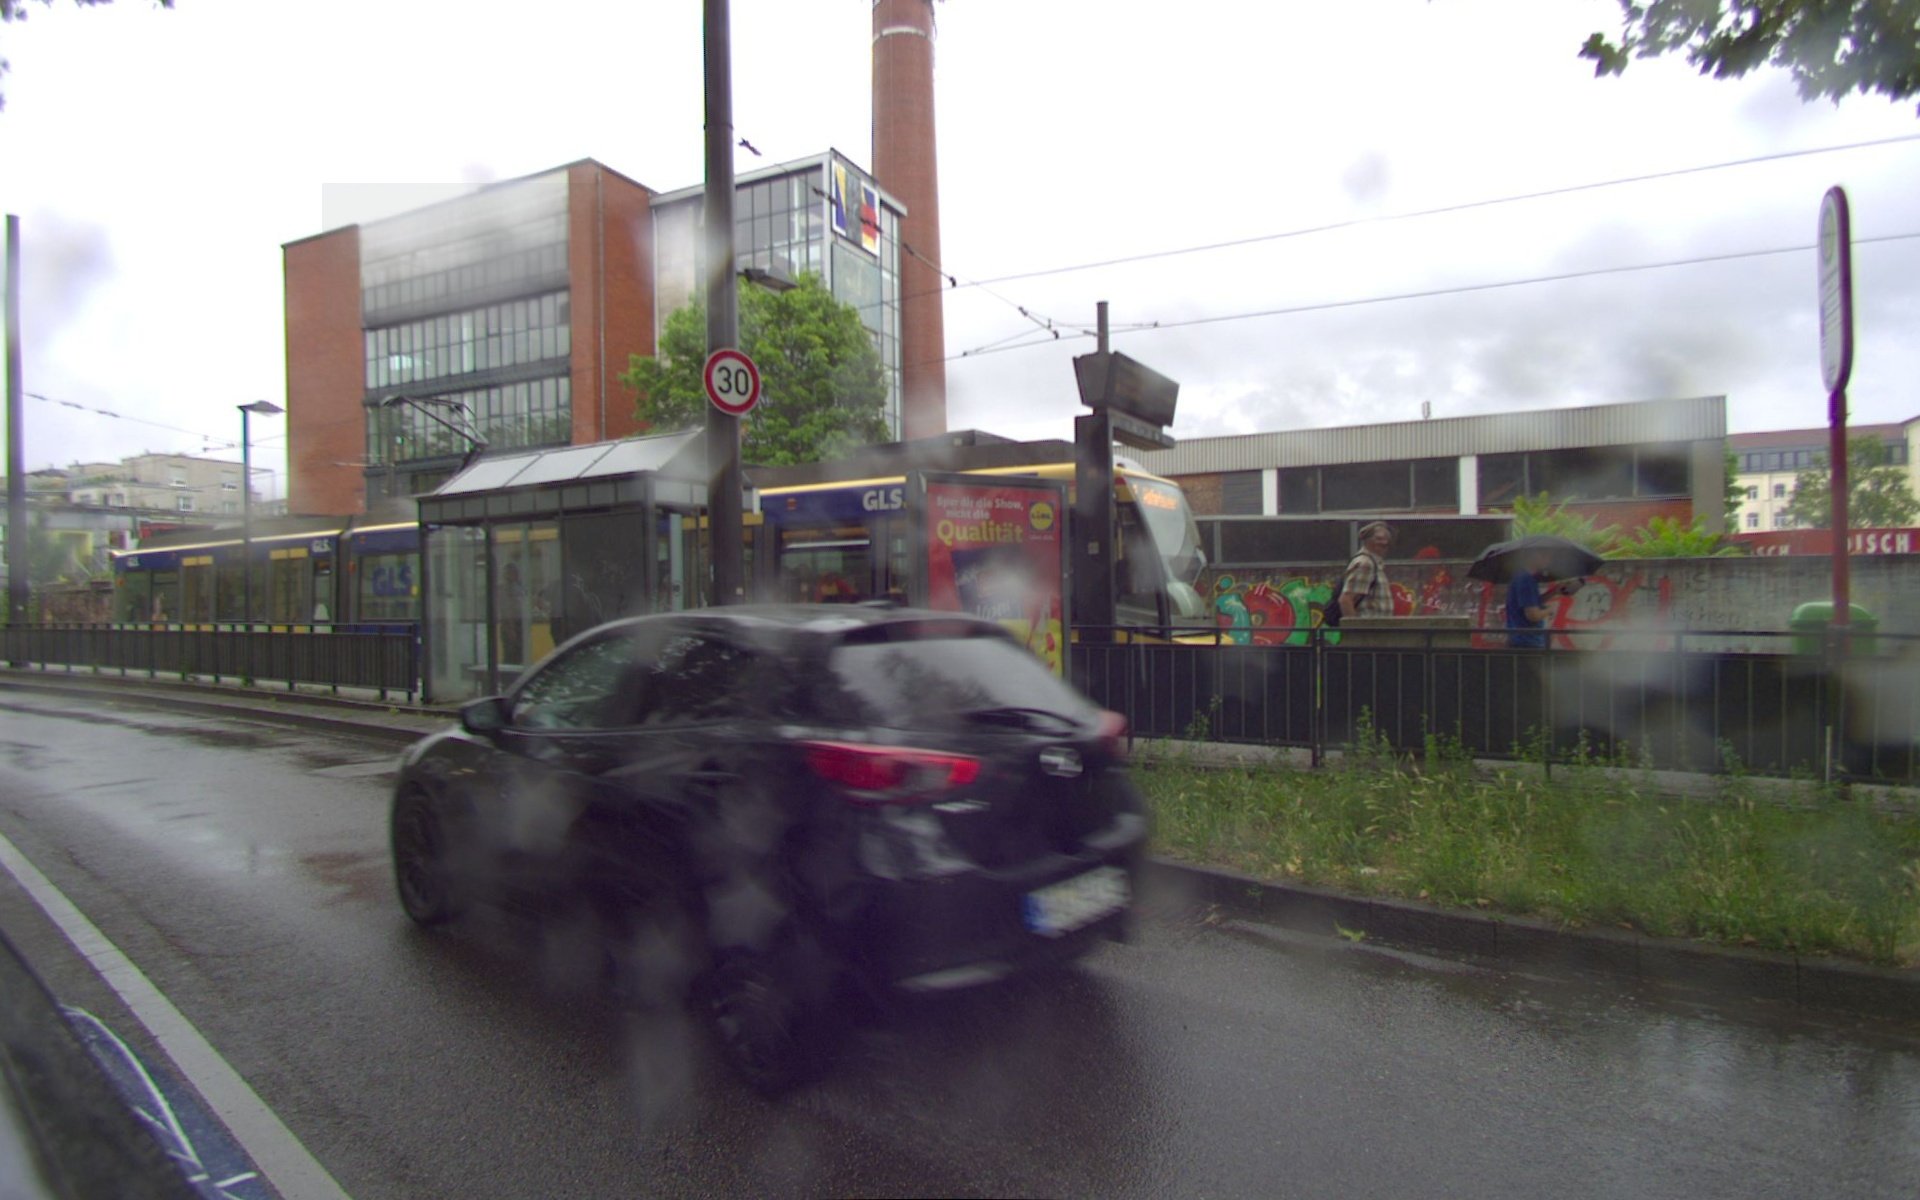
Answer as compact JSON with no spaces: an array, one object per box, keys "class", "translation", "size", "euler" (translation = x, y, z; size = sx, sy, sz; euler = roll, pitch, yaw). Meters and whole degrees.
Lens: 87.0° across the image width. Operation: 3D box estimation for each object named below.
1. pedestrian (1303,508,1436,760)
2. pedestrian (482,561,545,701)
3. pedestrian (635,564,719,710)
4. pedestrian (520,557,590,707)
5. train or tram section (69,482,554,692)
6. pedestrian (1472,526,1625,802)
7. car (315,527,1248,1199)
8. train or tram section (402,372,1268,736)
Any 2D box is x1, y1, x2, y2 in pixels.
[{"class":"pedestrian","translation":[3.121,0.242,7.685],"size":[0.826,1.768,0.859],"euler":[-1,0,28]},{"class":"pedestrian","translation":[-5.787,0.385,13.118],"size":[0.620,1.762,0.515],"euler":[-1,0,-41]},{"class":"pedestrian","translation":[-3.235,0.429,11.610],"size":[0.504,1.610,0.790],"euler":[-4,-4,30]},{"class":"pedestrian","translation":[-4.910,0.377,12.272],"size":[0.620,1.762,0.565],"euler":[-1,0,-41]},{"class":"train or tram section","translation":[-15.103,-0.106,22.485],"size":[15.323,3.572,2.838],"euler":[-1,0,32]},{"class":"pedestrian","translation":[4.320,0.442,7.486],"size":[0.888,1.878,0.863],"euler":[-1,0,29]},{"class":"car","translation":[-1.113,0.673,4.436],"size":[4.232,1.603,1.733],"euler":[-1,-1,40]},{"class":"train or tram section","translation":[-2.817,-0.350,14.715],"size":[13.666,3.572,2.839],"euler":[-1,0,31]}]
